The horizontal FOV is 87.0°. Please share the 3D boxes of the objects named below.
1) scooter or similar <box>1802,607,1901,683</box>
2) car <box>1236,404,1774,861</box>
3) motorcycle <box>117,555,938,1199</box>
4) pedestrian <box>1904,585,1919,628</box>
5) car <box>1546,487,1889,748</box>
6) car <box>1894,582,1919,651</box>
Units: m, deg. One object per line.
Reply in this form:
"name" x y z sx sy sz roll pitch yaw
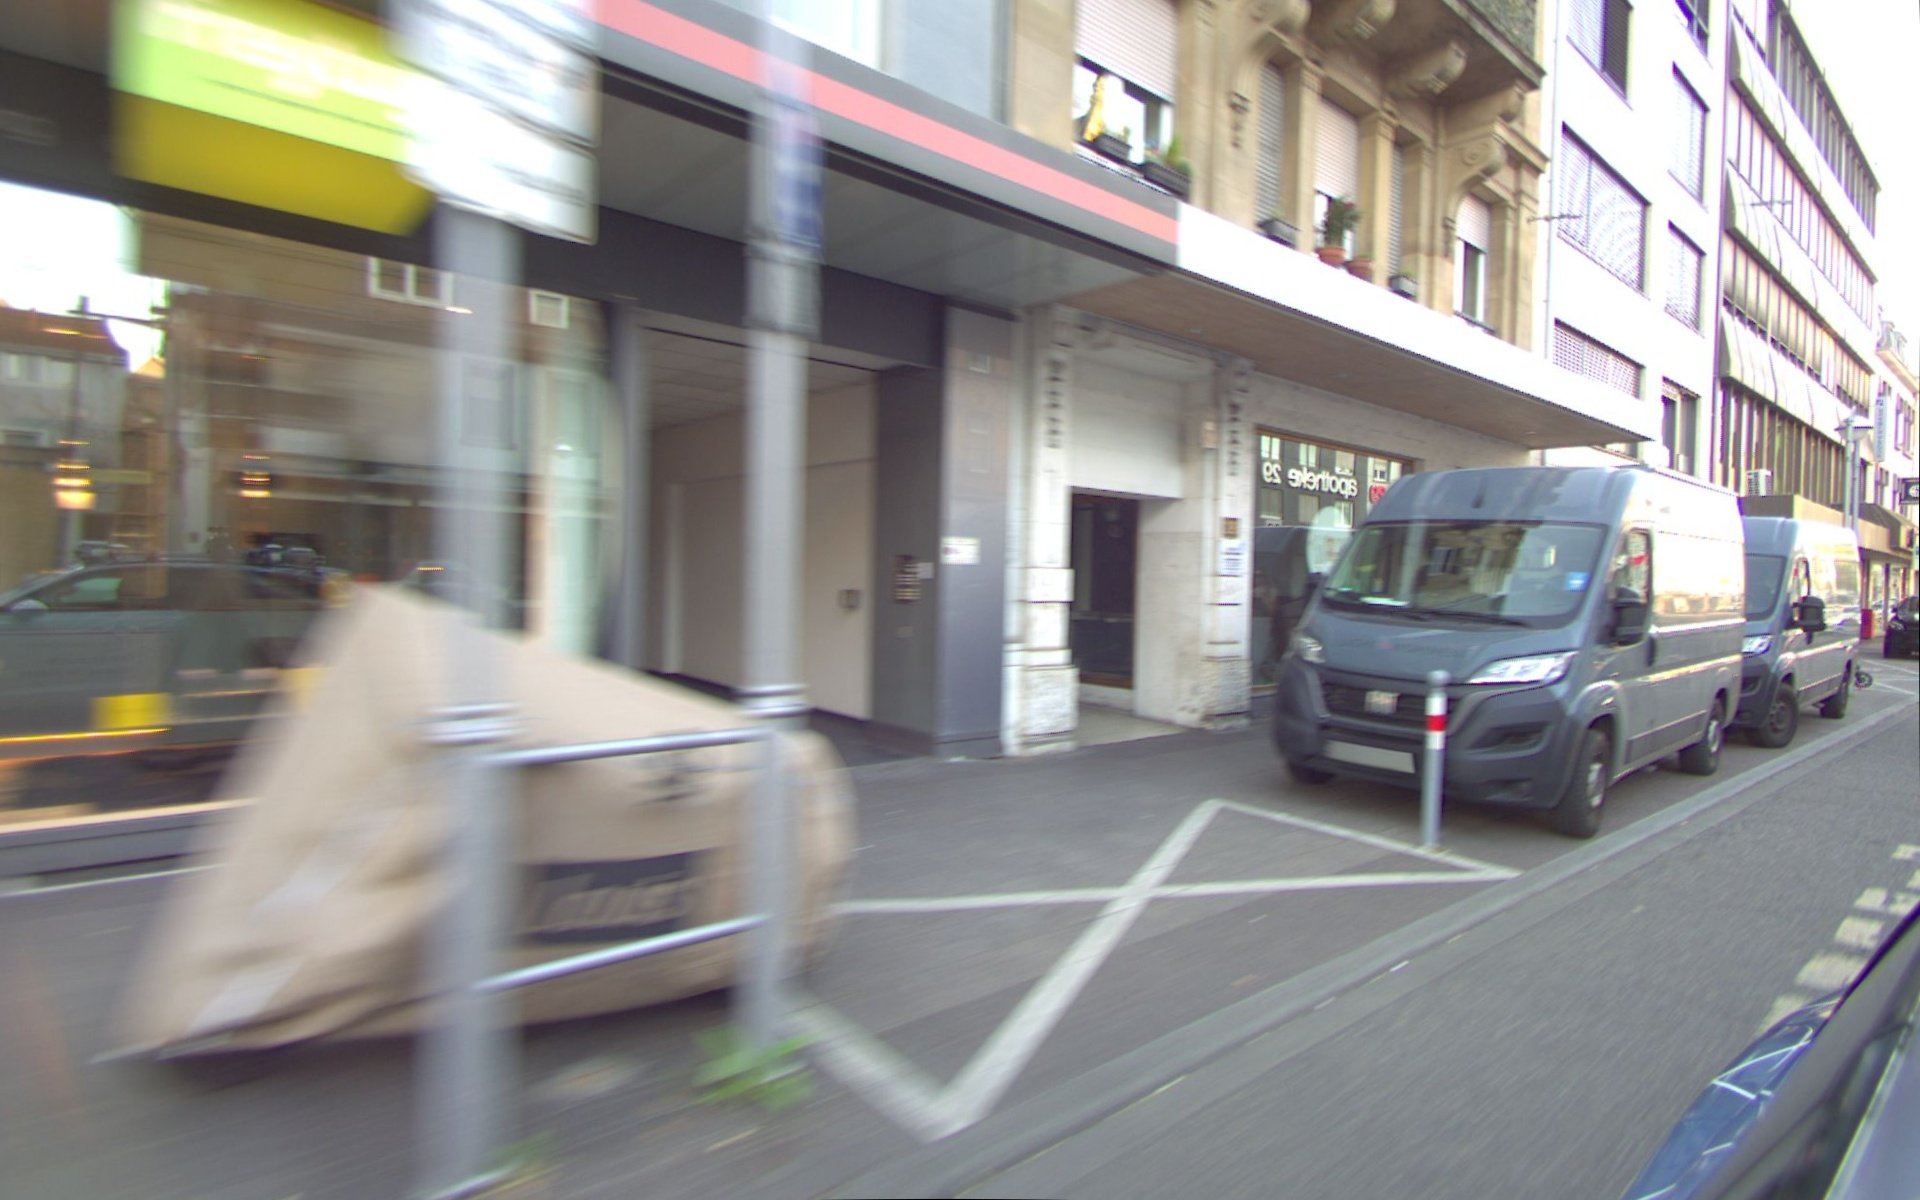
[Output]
"scooter or similar" 15.128 0.764 17.186 1.240 1.235 0.500 1 1 -3
"car" 4.601 0.116 8.052 5.317 2.485 2.037 0 3 -42
"motorcycle" -1.178 0.622 3.082 2.127 1.436 0.846 0 4 -41
"pedestrian" 39.206 0.262 41.443 0.666 1.739 0.651 0 3 -40
"car" 9.455 0.110 12.379 5.927 2.485 2.097 0 3 -41
"car" 26.413 0.442 26.745 4.485 1.748 1.998 0 2 -41
